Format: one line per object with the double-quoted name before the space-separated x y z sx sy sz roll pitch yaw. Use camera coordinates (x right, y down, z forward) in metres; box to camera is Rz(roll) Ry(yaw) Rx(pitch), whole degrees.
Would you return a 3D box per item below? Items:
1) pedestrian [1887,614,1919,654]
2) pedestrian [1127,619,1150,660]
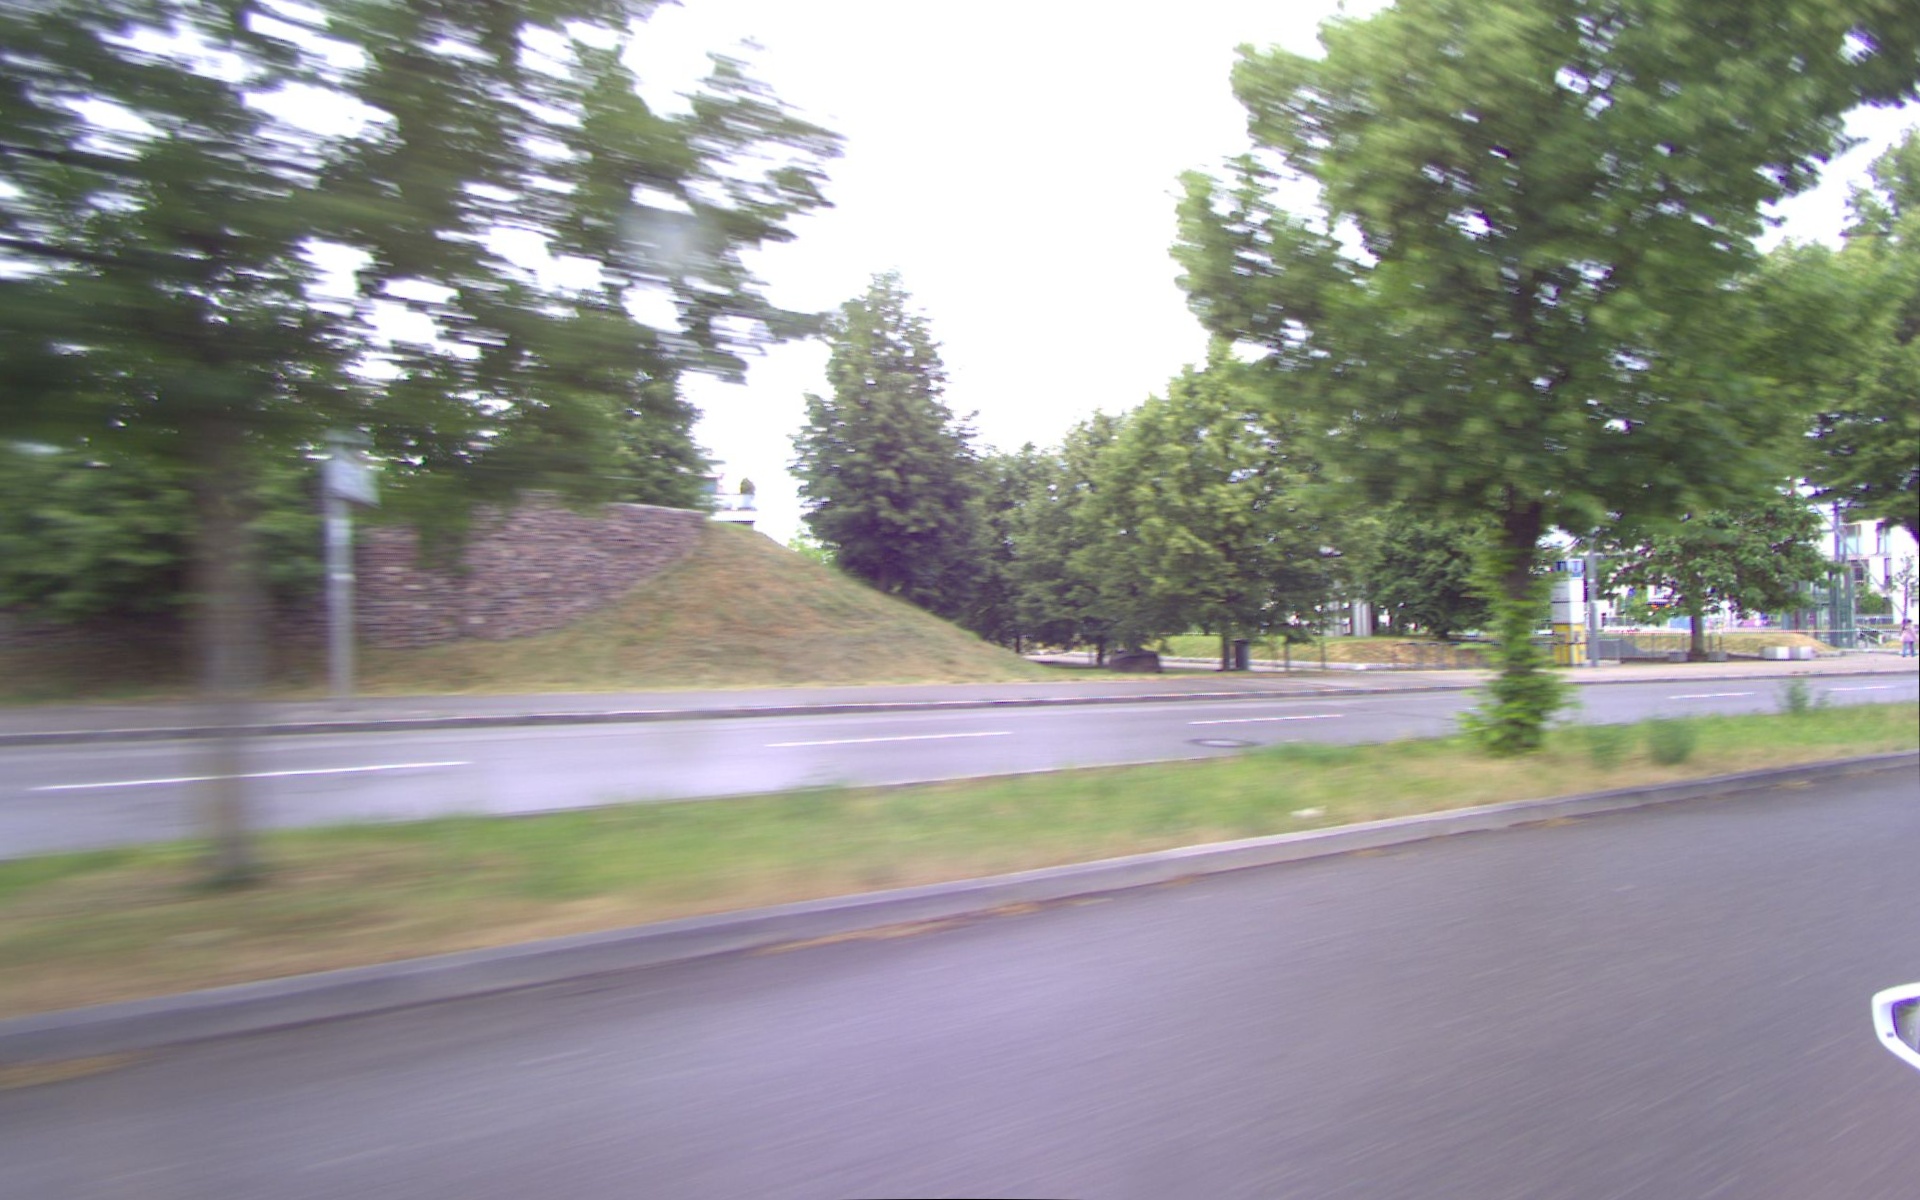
"pedestrian" 39.873 1.441 42.362 0.922 1.642 0.812 2 -1 -23
"pedestrian" 7.869 1.734 44.247 0.745 1.751 0.644 2 -1 -23
